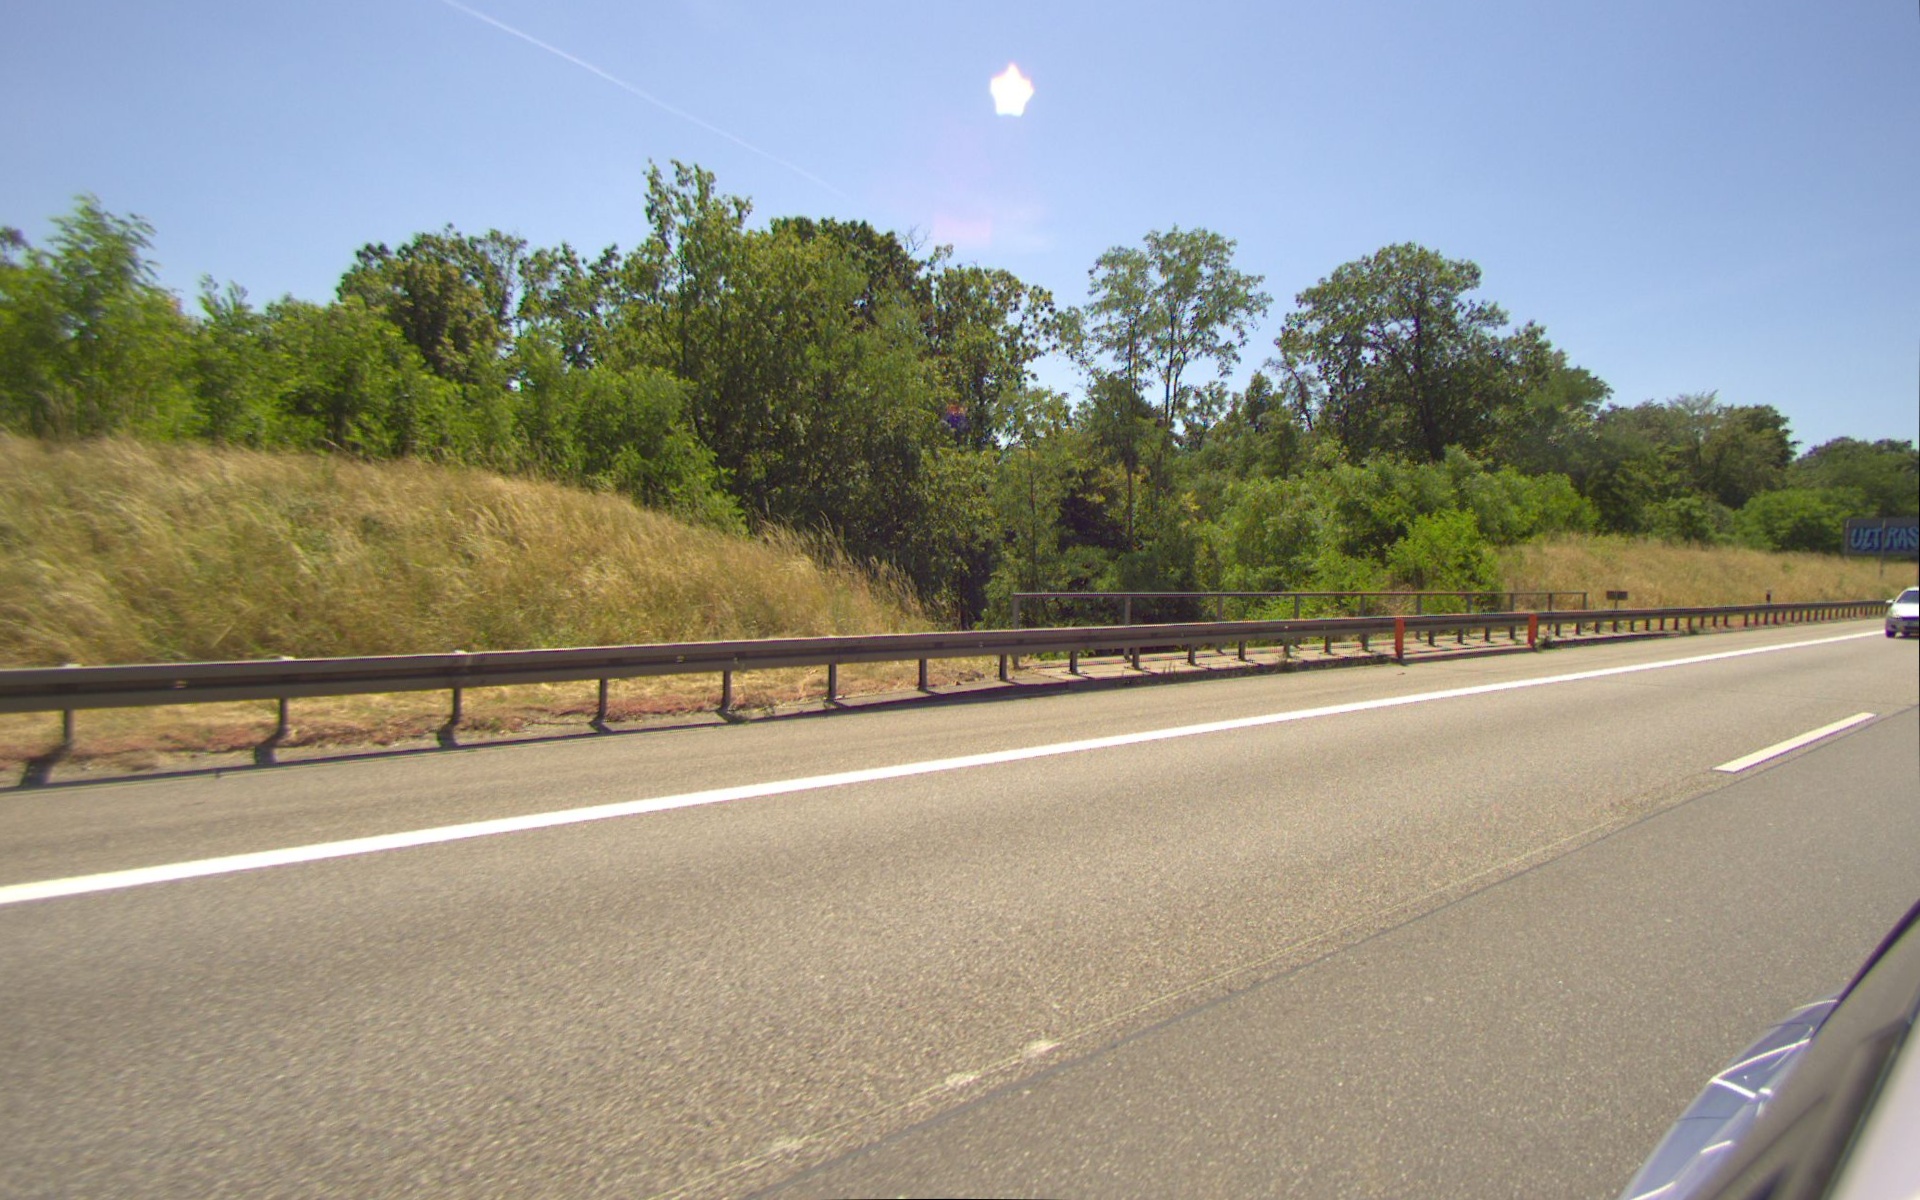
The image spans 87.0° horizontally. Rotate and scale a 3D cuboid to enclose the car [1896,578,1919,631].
[{"bbox_3d":[28.652,0.102,29.277,3.908,1.484,1.749,-1,1,-38],"label":"car"}]
